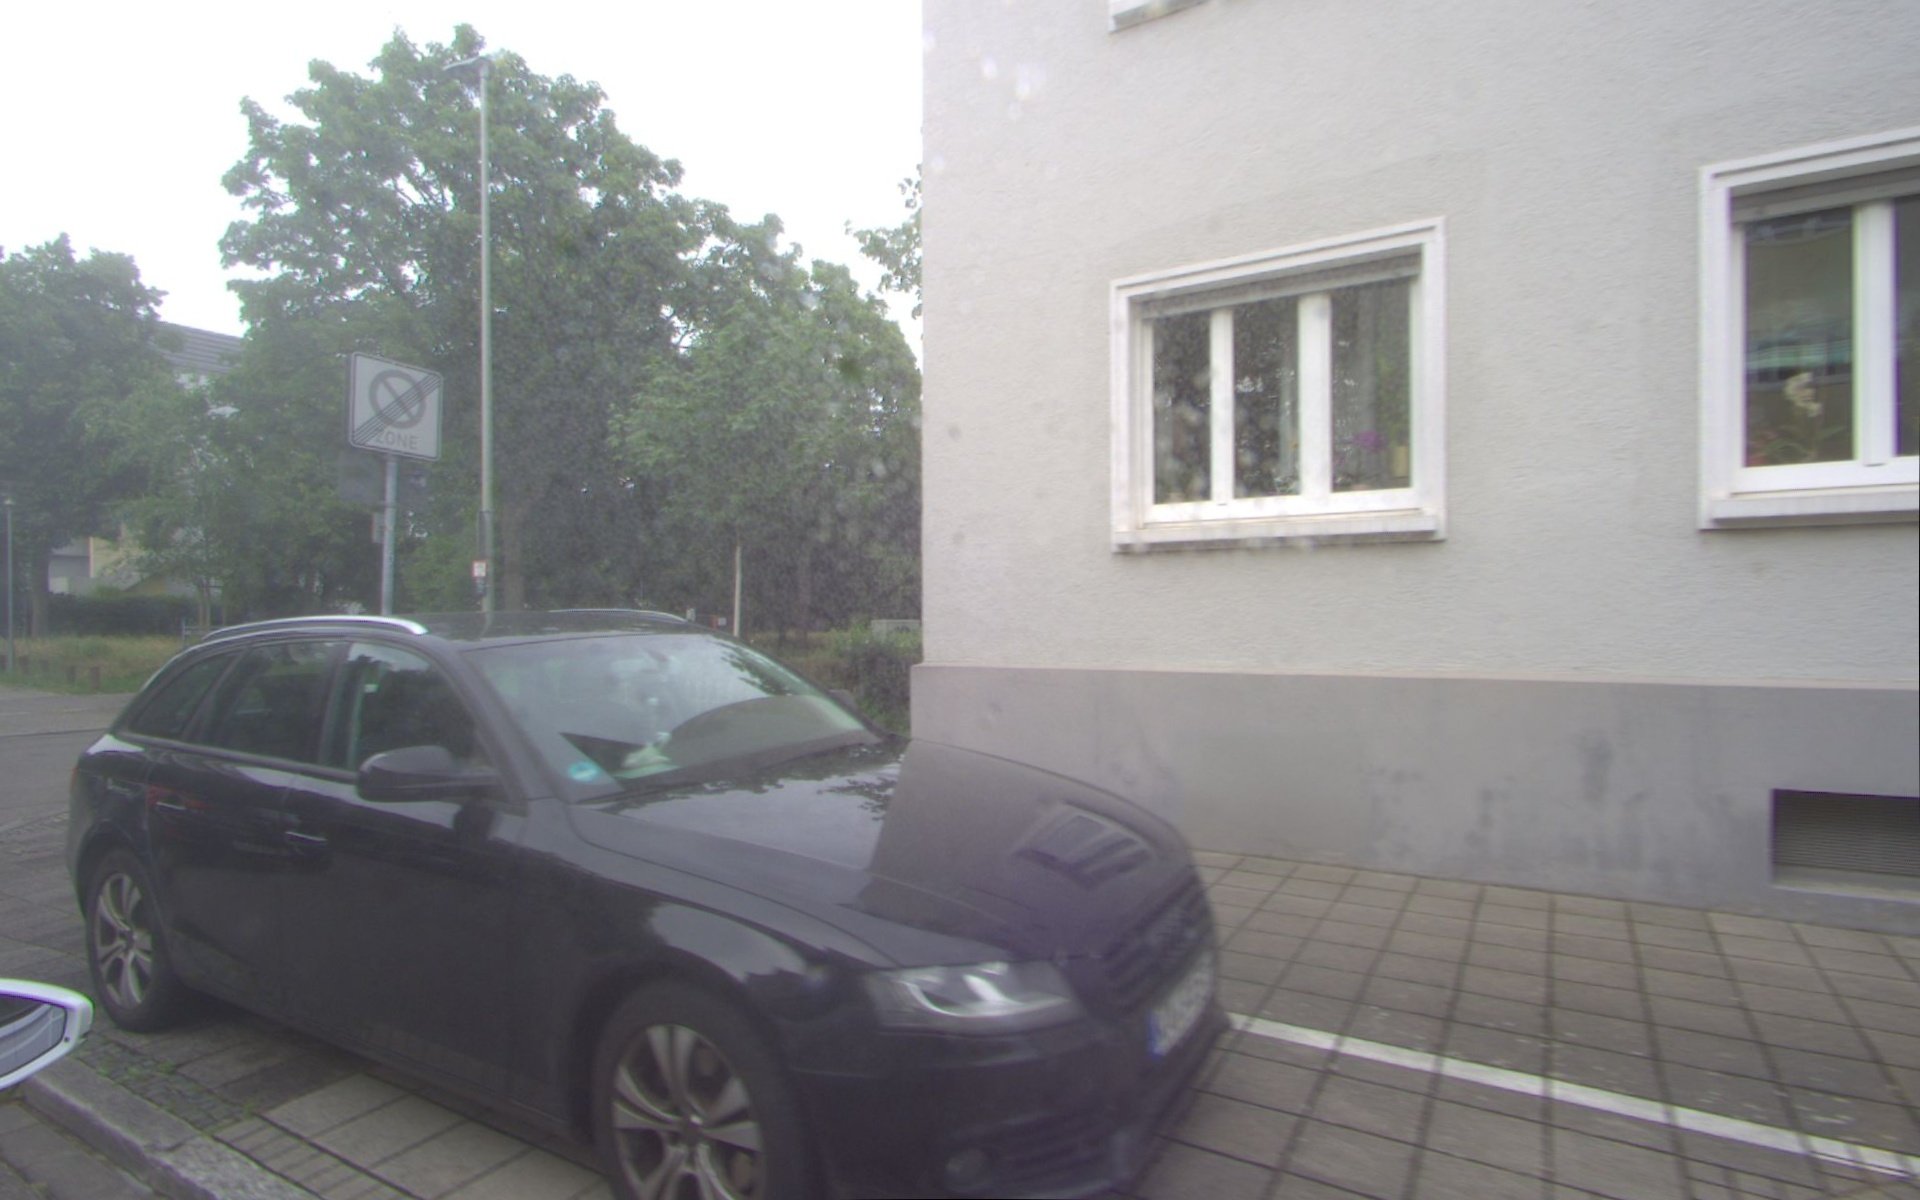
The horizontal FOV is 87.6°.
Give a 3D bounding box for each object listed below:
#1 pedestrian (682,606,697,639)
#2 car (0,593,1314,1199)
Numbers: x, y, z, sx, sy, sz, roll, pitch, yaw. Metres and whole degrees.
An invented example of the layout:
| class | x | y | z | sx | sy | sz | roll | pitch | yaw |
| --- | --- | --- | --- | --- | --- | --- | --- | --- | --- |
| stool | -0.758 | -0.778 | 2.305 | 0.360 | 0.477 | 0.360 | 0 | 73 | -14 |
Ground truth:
| class | x | y | z | sx | sy | sz | roll | pitch | yaw |
| --- | --- | --- | --- | --- | --- | --- | --- | --- | --- |
| pedestrian | -14.915 | 1.230 | 55.205 | 0.537 | 1.822 | 0.568 | 1 | 0 | 42 |
| car | -1.359 | 0.750 | 3.494 | 4.655 | 1.482 | 1.858 | -1 | 0 | 30 |
